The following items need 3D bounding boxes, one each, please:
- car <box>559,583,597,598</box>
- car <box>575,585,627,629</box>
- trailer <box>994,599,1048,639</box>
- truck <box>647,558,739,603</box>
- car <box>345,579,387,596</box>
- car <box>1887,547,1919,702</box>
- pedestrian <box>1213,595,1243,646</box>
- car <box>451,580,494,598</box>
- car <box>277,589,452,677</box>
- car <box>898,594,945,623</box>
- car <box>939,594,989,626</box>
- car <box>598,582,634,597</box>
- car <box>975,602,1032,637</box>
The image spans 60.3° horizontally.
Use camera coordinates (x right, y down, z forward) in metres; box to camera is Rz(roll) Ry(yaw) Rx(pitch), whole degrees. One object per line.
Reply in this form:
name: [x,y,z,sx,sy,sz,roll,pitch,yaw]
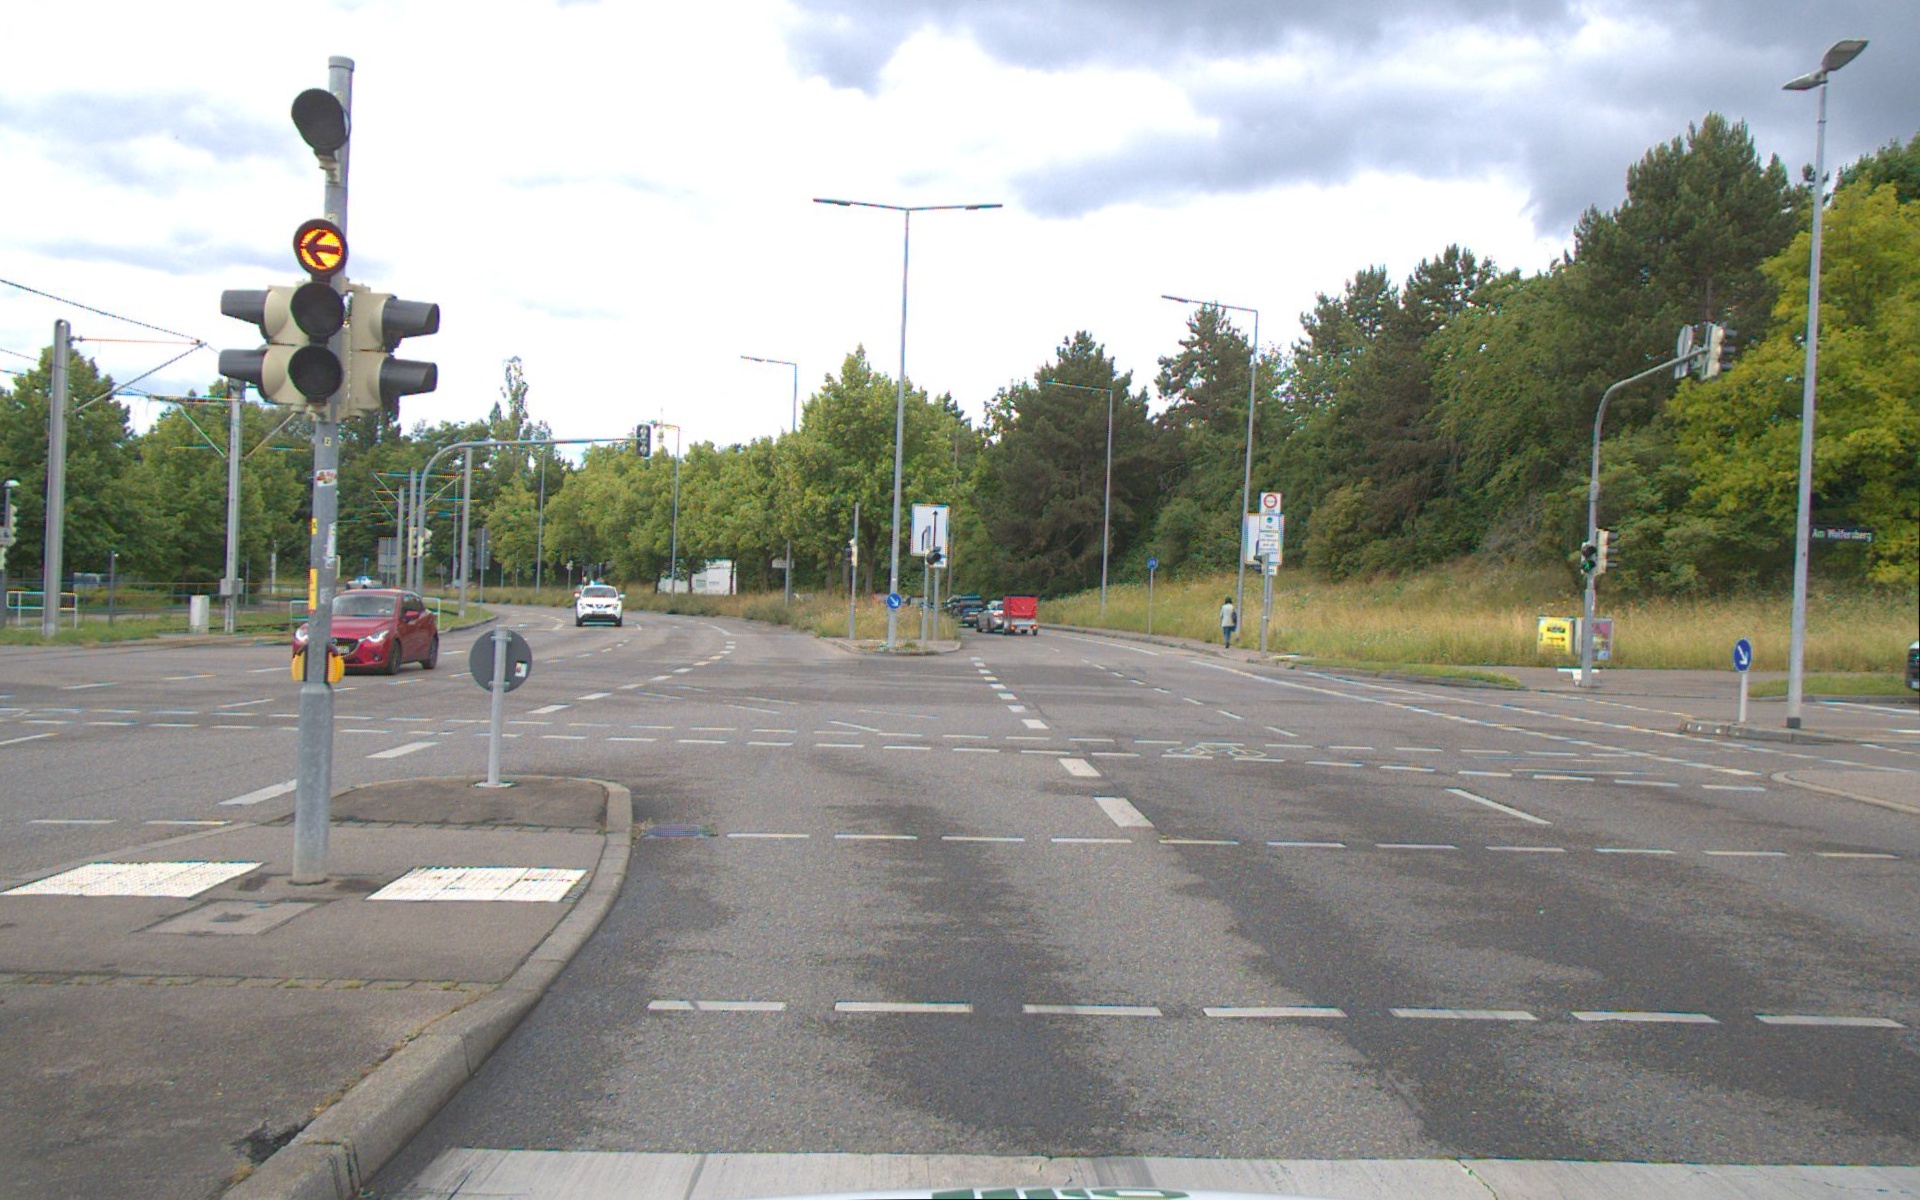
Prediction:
car: [-40.796,-0.973,176.669,1.744,1.573,4.018,1,0,29]
car: [-14.015,0.242,64.795,1.795,1.657,4.415,0,0,-10]
trailer: [2.599,0.807,71.454,1.732,1.644,3.037,1,0,-10]
truck: [-21.185,-1.528,130.572,2.715,3.387,11.272,1,0,-34]
car: [-59.648,-1.255,166.059,3.917,1.713,1.994,1,0,34]
car: [20.337,0.468,30.088,5.772,2.830,2.135,0,0,-1]
pedestrian: [8.784,0.664,54.242,0.797,1.656,0.790,1,0,-1]
car: [-46.536,-1.064,157.774,3.920,1.713,1.992,1,0,36]
car: [-10.588,0.539,29.738,1.745,1.468,4.423,0,0,-3]
car: [-2.248,0.489,94.872,1.749,1.573,4.007,1,0,-16]
car: [0.185,0.492,85.292,1.747,1.573,4.013,1,0,-12]
car: [-35.808,-1.106,172.148,1.742,1.573,4.024,1,0,22]
car: [1.959,0.871,75.146,1.745,1.446,4.448,1,0,-10]
